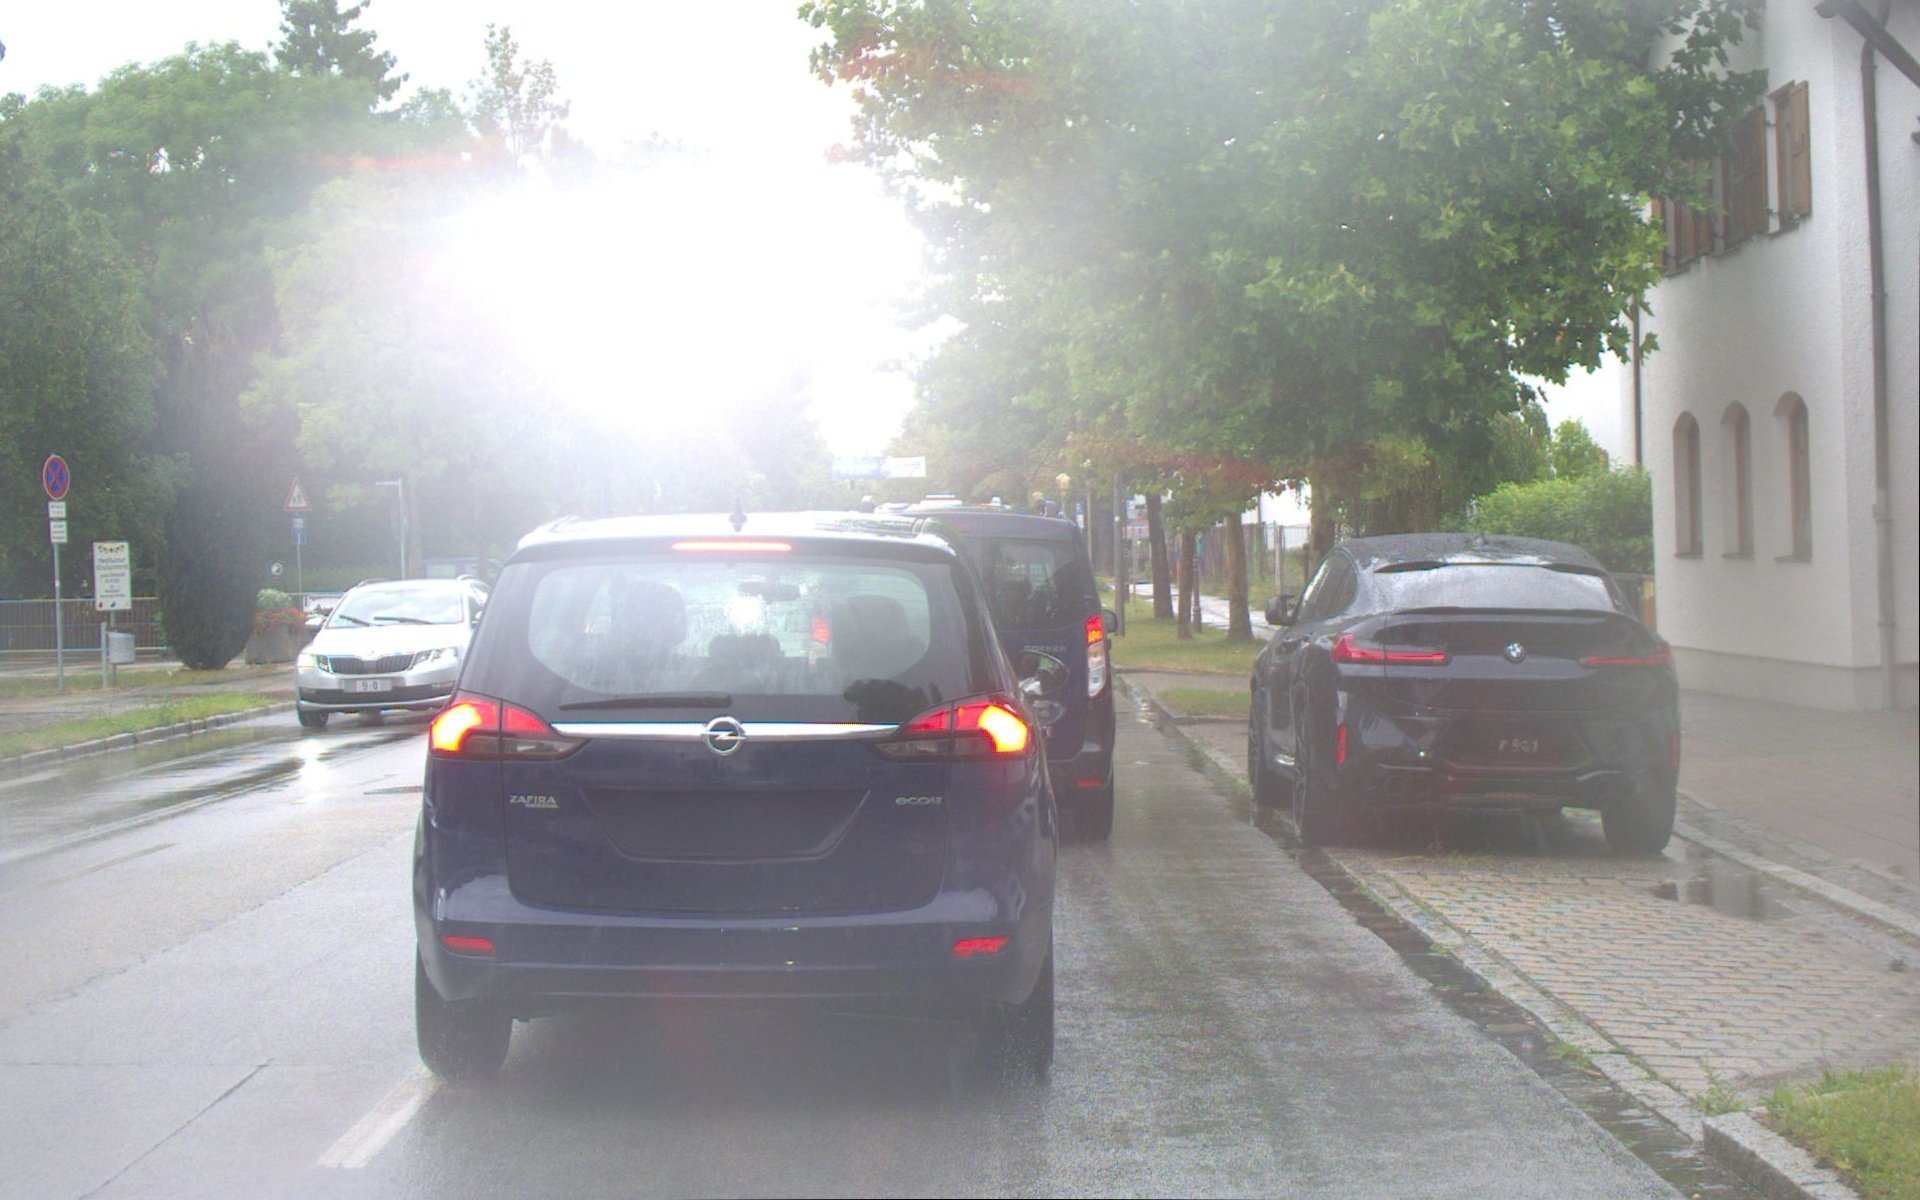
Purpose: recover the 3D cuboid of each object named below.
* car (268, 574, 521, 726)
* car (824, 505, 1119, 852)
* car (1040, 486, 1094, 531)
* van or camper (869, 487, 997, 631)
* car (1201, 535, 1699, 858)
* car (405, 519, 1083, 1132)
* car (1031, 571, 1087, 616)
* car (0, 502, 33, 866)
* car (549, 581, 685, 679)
[{"bbox_3d":[-5.770,0.468,35.537,1.778,1.371,4.184,-3,1,1],"label":"car"},{"bbox_3d":[0.056,0.381,19.092,1.500,1.770,3.112,0,1,0],"label":"car"},{"bbox_3d":[3.624,-3.102,116.804,1.630,1.373,3.623,-2,0,0],"label":"car"},{"bbox_3d":[-0.512,-0.806,67.806,2.360,2.656,5.372,-2,1,0],"label":"van or camper"},{"bbox_3d":[2.539,0.462,18.809,2.117,1.576,3.936,0,0,-1],"label":"car"},{"bbox_3d":[-0.569,0.571,10.832,1.768,1.599,3.663,0,1,0],"label":"car"},{"bbox_3d":[3.082,-0.190,107.355,1.630,1.373,3.623,0,0,0],"label":"car"},{"bbox_3d":[-5.956,0.508,15.711,1.816,1.885,5.258,-3,1,1],"label":"car"},{"bbox_3d":[-5.358,0.442,54.181,1.580,1.371,4.184,-3,1,1],"label":"car"}]
